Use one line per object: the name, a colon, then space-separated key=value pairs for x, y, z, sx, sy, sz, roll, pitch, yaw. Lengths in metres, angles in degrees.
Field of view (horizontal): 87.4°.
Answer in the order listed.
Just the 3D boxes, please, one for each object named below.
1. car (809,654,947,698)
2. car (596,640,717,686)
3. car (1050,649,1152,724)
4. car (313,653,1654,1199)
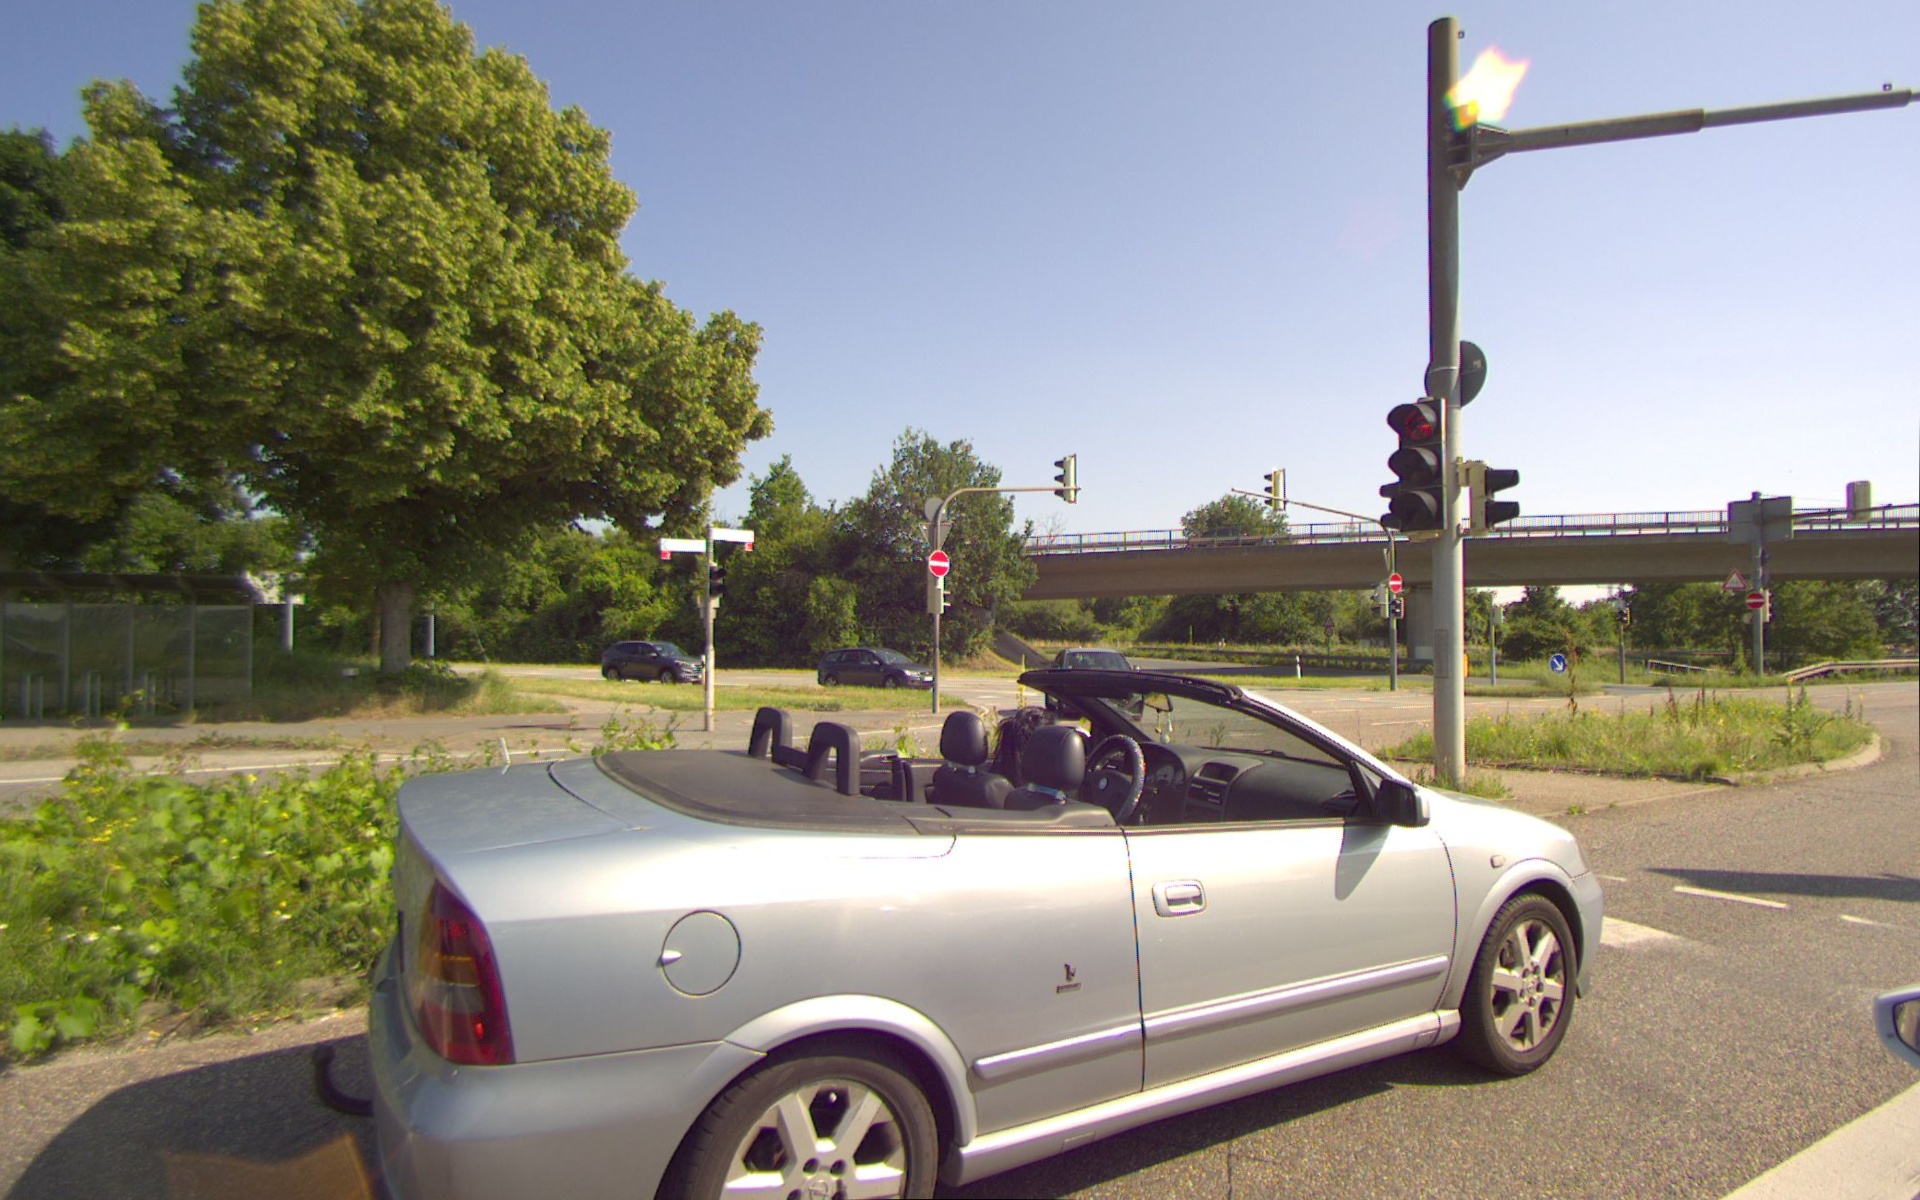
car: x=-2.682 y=2.420 z=32.448 sx=4.276 sy=1.297 sz=1.648 roll=-1 pitch=-2 yaw=30
car: x=-11.361 y=2.320 z=37.591 sx=4.270 sy=1.616 sz=1.651 roll=-1 pitch=-2 yaw=22
car: x=2.989 y=1.825 z=22.112 sx=1.834 sy=1.443 sz=4.129 roll=0 pitch=-2 yaw=2
car: x=0.331 y=0.872 z=3.324 sx=4.049 sy=1.352 sz=1.666 roll=1 pitch=-3 yaw=-30
